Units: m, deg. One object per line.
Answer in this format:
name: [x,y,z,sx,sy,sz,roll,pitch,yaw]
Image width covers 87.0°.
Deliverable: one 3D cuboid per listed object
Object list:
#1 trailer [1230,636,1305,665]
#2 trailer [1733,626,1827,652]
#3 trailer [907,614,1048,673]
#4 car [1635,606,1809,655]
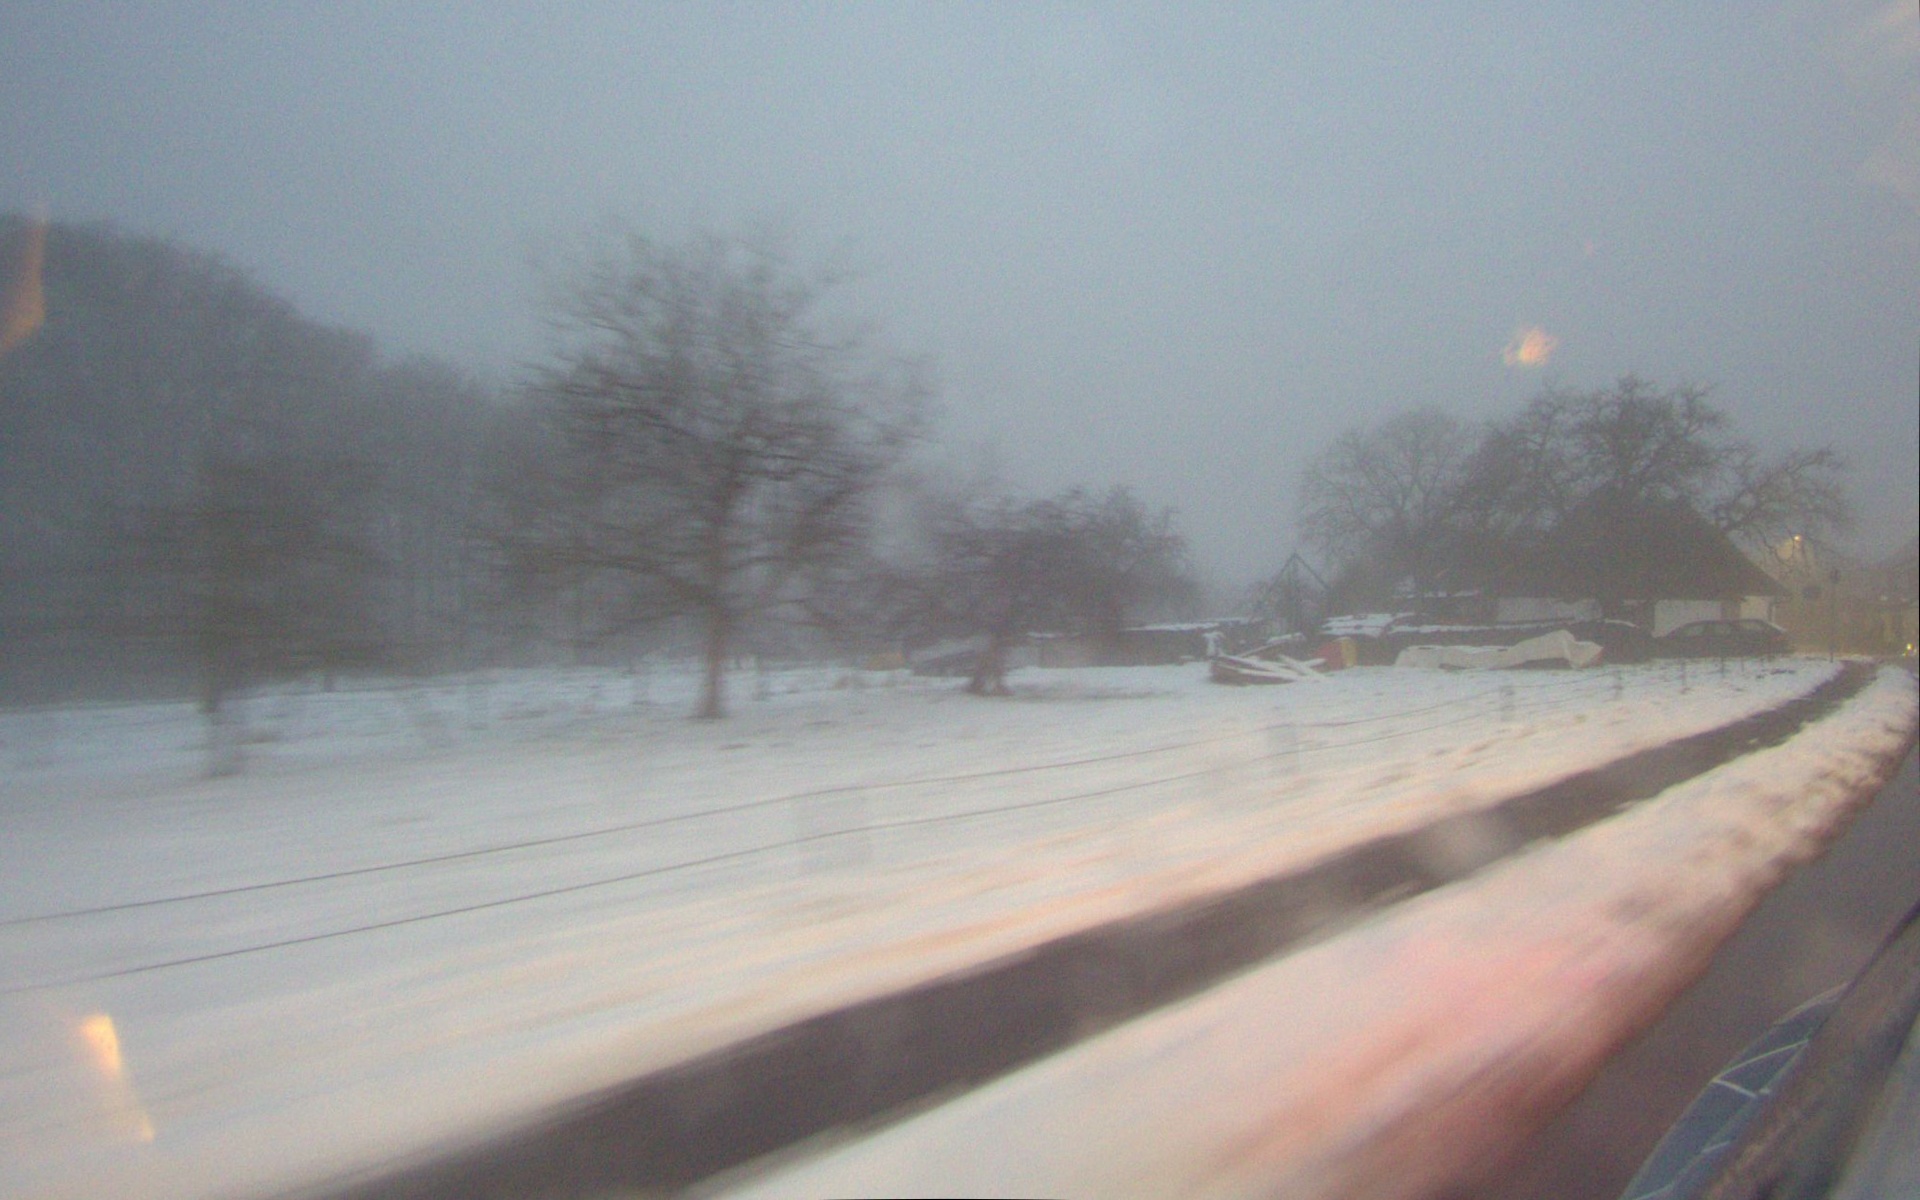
trailer: [12.053,1.932,39.534,1.836,0.958,3.618,2,0,33]
trailer: [35.557,1.654,44.029,1.526,0.958,3.984,2,0,13]
trailer: [0.592,1.544,36.224,4.731,1.968,2.192,-2,-3,39]
car: [25.719,1.073,34.272,4.447,1.400,2.003,-6,-5,44]
